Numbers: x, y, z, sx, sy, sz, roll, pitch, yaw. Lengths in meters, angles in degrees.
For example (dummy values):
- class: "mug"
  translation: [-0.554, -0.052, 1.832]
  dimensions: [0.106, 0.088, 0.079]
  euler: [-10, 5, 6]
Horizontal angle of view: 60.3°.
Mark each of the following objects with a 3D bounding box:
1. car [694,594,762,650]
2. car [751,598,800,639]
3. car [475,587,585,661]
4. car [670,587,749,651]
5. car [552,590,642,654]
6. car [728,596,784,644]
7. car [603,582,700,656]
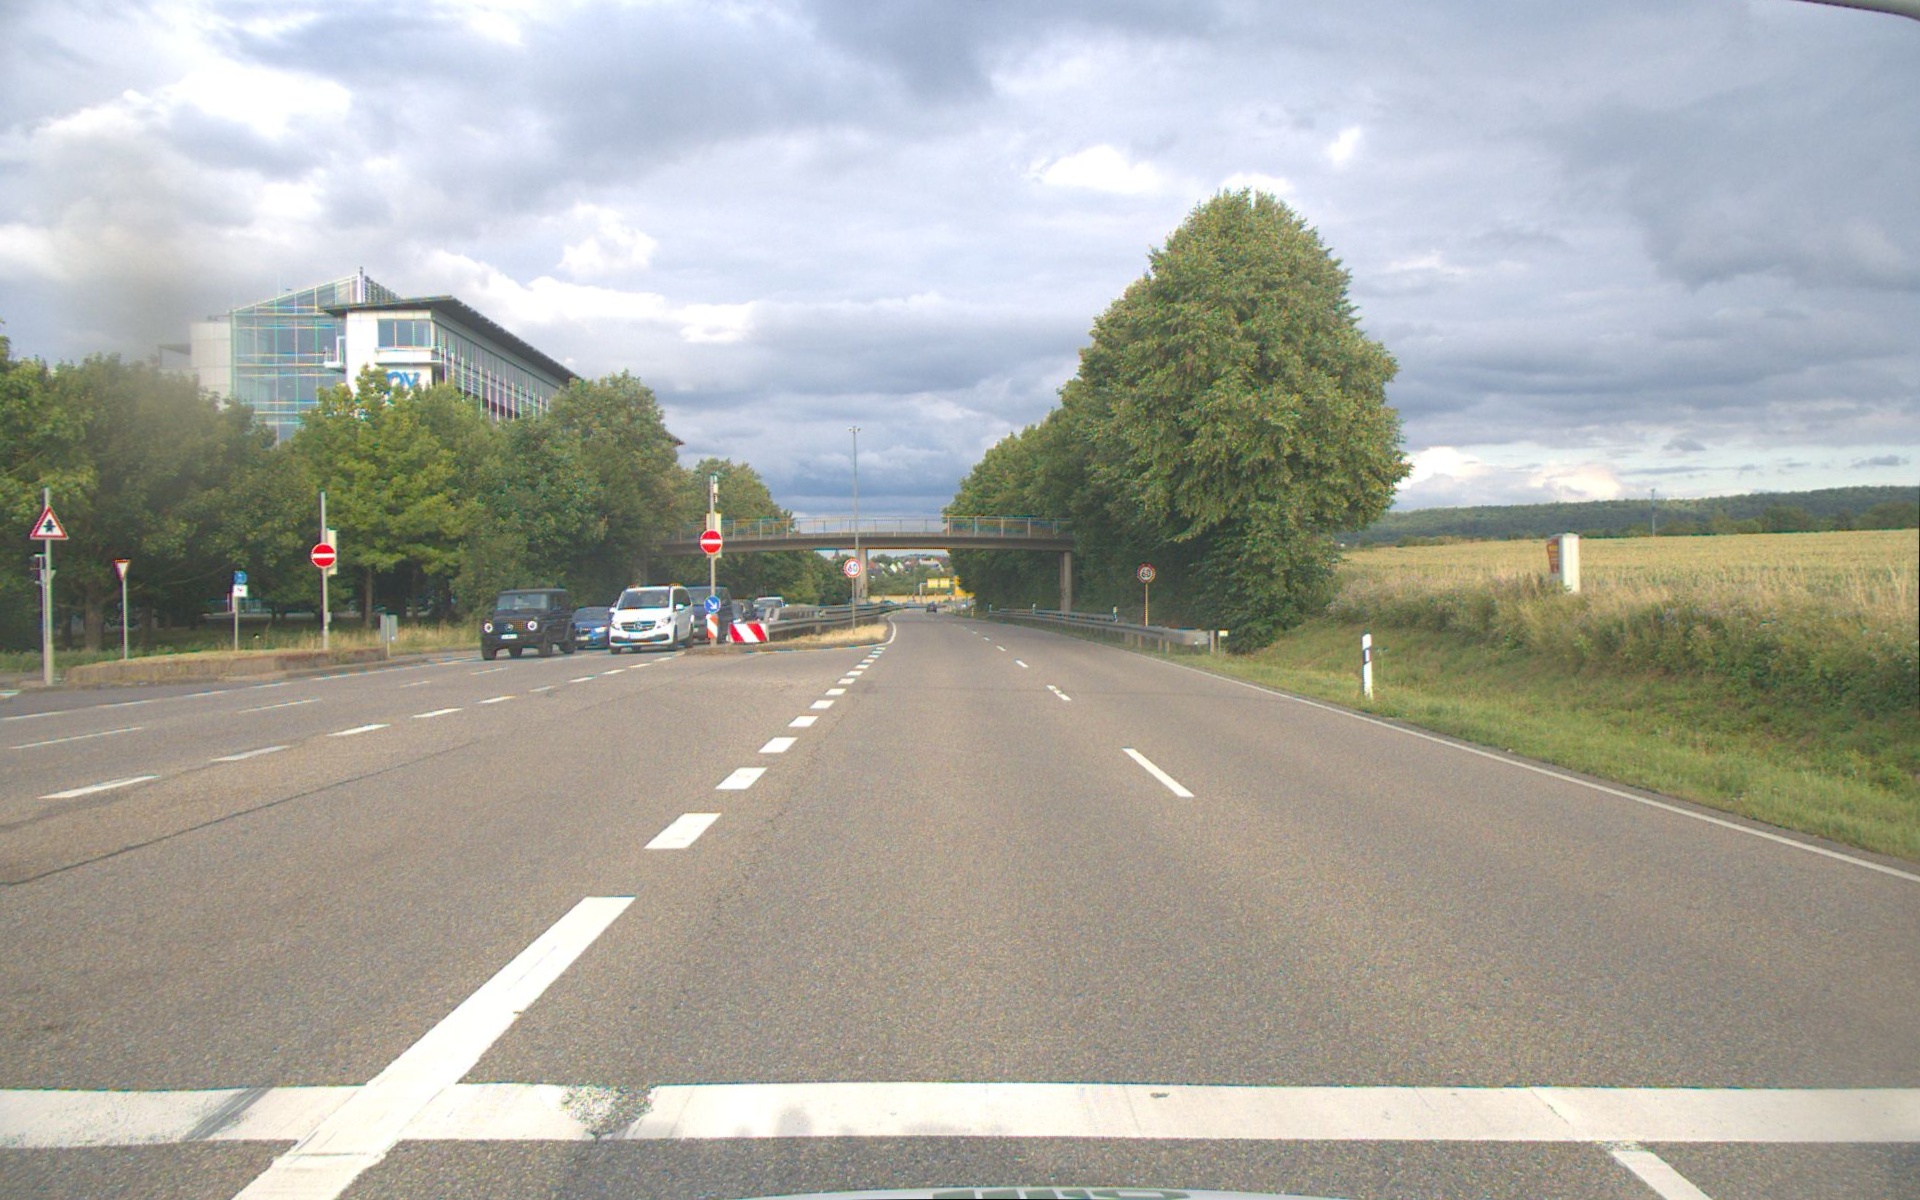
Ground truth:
- class: "car"
  translation: [-9.006, 0.842, 64.507]
  dimensions: [2.041, 2.049, 5.214]
  euler: [1, 0, -2]
- class: "car"
  translation: [-9.478, 0.941, 85.296]
  dimensions: [2.041, 2.049, 5.214]
  euler: [1, 0, -2]
- class: "car"
  translation: [-12.666, 0.684, 49.040]
  dimensions: [2.041, 2.049, 5.214]
  euler: [1, 0, -2]
- class: "car"
  translation: [-8.567, 0.641, 56.950]
  dimensions: [2.041, 2.049, 5.214]
  euler: [1, 0, -2]
- class: "car"
  translation: [-12.332, 0.731, 56.545]
  dimensions: [2.041, 2.049, 5.214]
  euler: [1, 0, -2]
- class: "car"
  translation: [-9.255, 0.894, 75.482]
  dimensions: [2.041, 2.049, 5.214]
  euler: [1, 0, -2]
- class: "car"
  translation: [-9.107, 0.545, 49.206]
  dimensions: [2.041, 2.049, 5.214]
  euler: [1, 0, -2]
